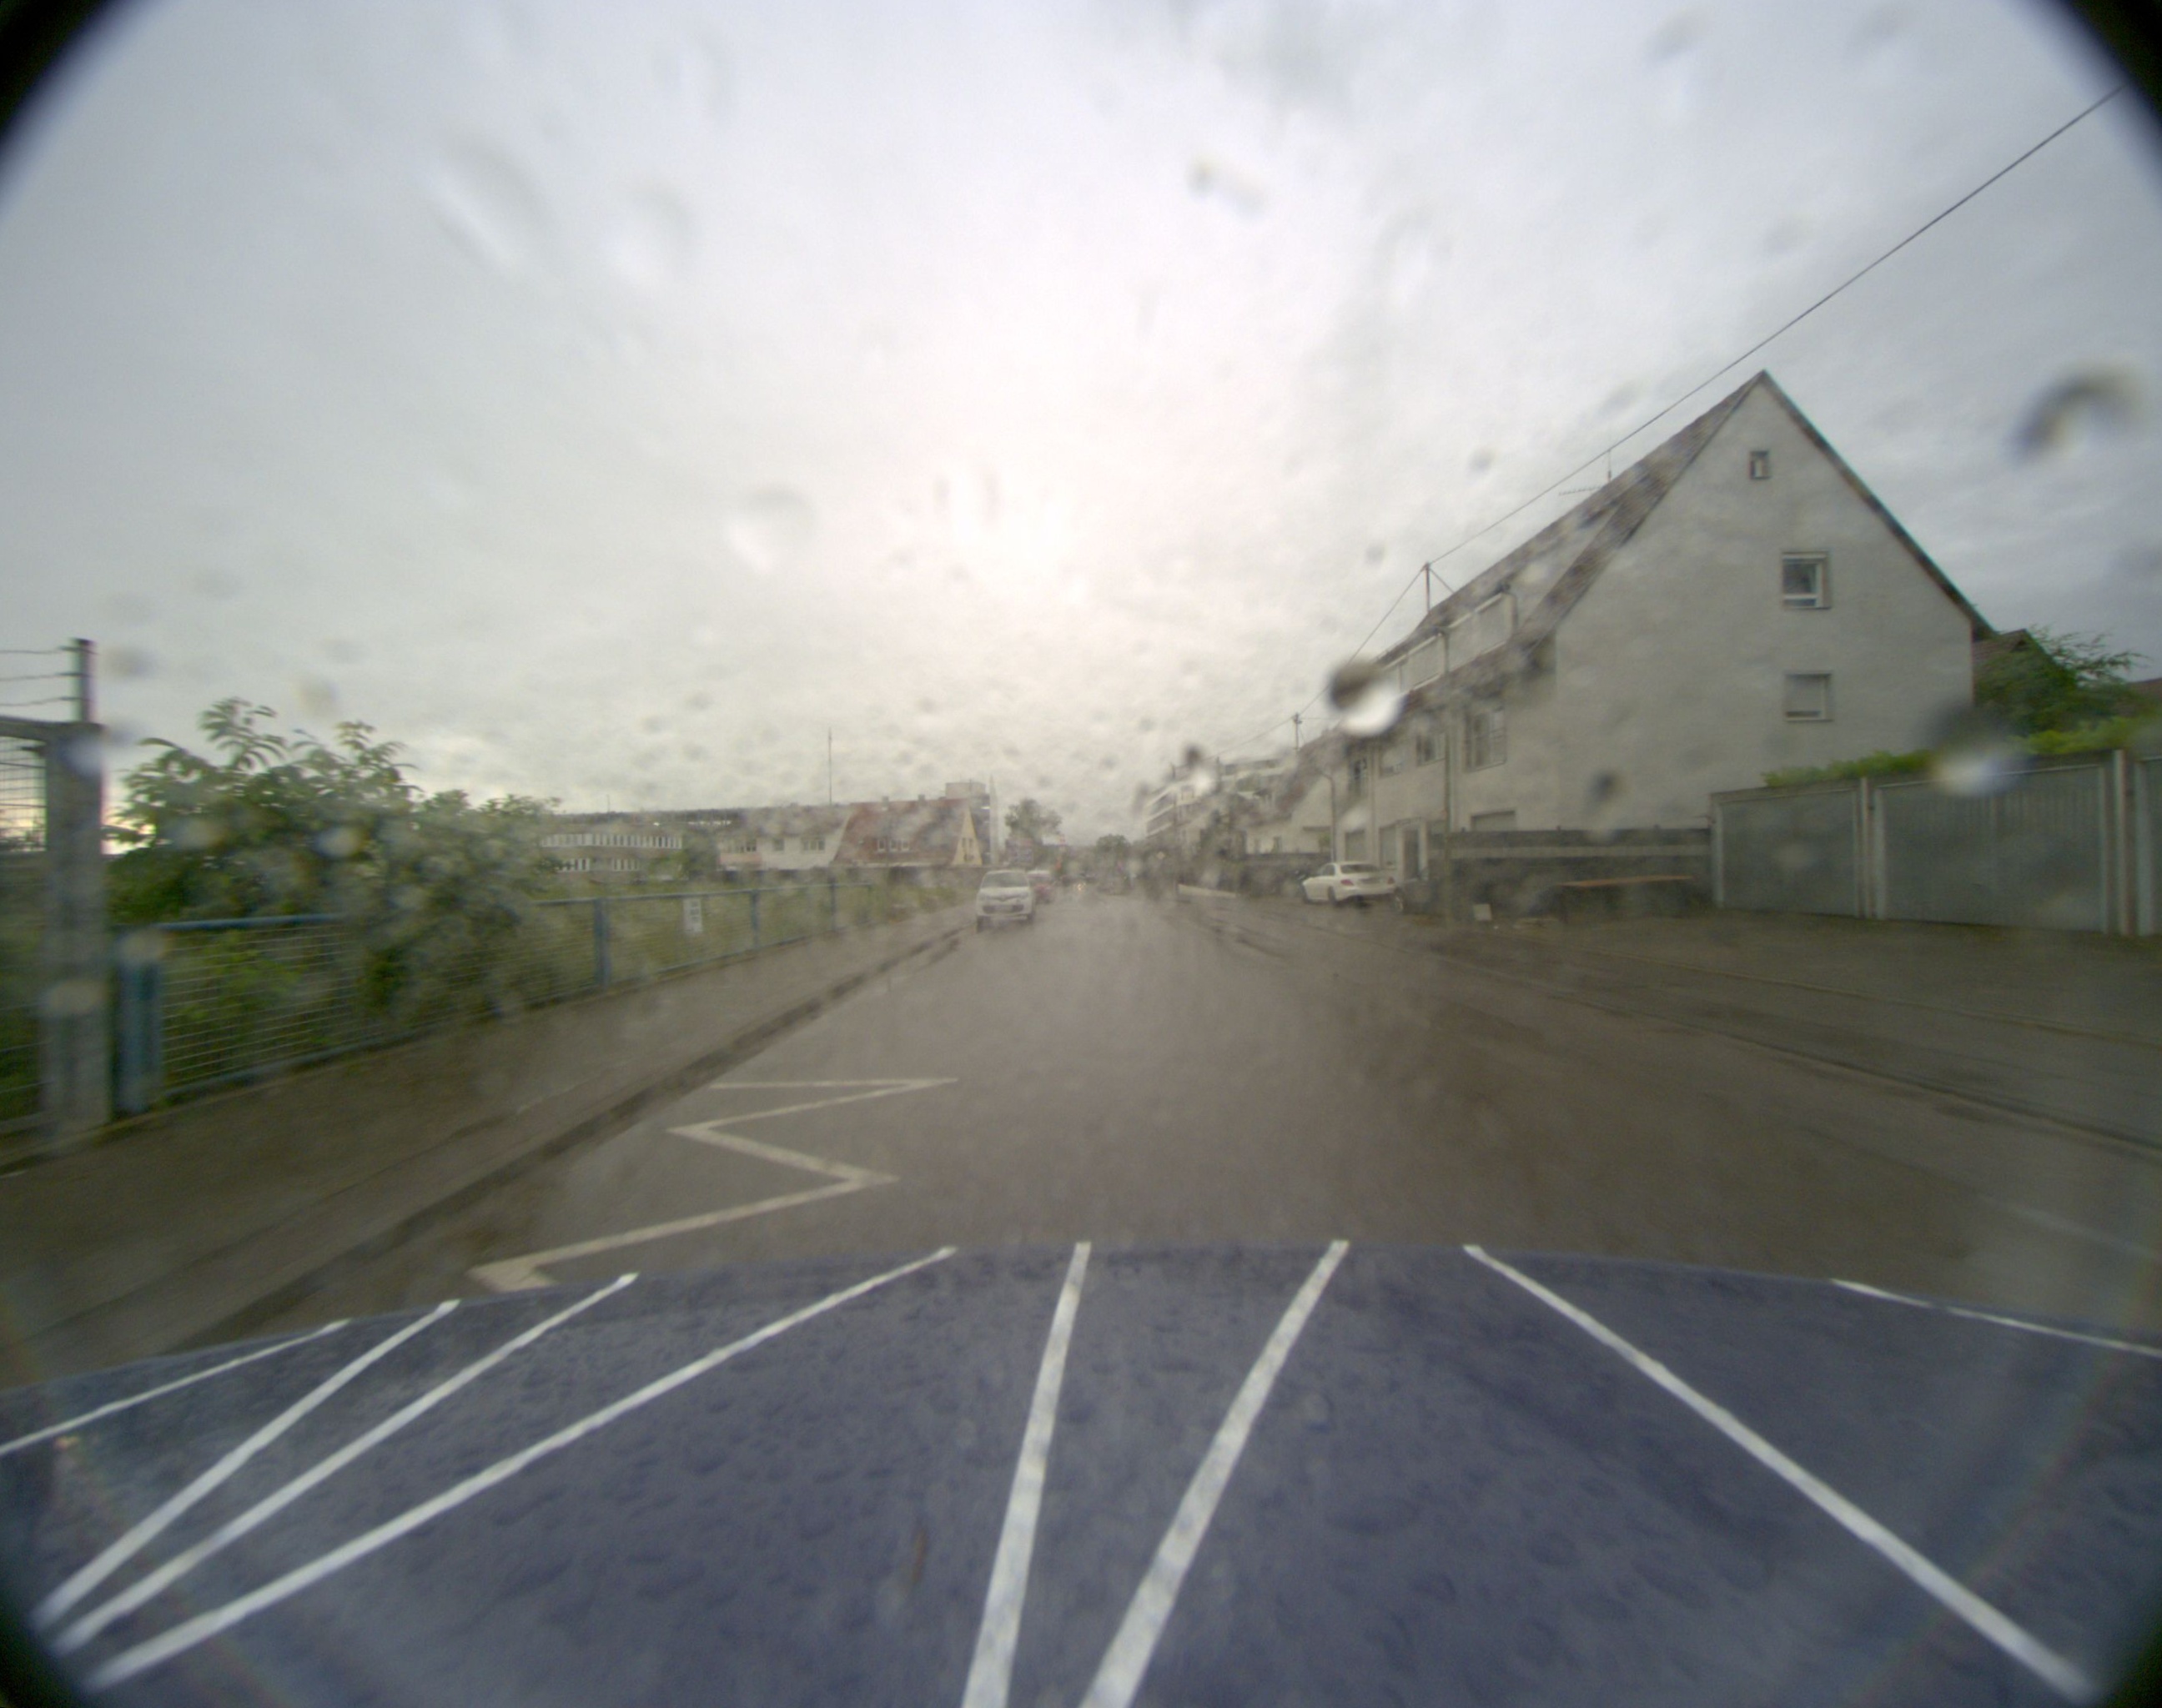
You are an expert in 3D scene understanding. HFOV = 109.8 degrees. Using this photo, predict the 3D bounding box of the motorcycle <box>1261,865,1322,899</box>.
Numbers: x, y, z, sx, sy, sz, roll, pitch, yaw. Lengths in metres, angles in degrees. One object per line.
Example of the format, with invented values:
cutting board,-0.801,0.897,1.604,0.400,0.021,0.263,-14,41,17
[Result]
motorcycle,9.053,1.203,32.733,2.368,1.266,0.736,-4,-1,0

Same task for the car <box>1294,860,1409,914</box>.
car,8.939,1.062,25.644,1.999,1.501,4.896,-4,-1,-1

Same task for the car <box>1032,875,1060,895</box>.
car,-2.456,2.185,54.307,1.773,1.327,4.321,-2,-2,-1

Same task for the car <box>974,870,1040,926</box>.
car,-2.221,1.298,23.522,1.686,1.548,3.675,-2,-1,-1

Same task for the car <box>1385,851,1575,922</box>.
car,9.233,0.735,18.103,1.832,1.360,4.569,-4,-1,-3

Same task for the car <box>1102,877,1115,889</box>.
car,4.298,4.560,119.474,1.841,1.695,4.325,-1,-2,1

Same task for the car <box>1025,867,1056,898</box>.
car,-2.566,1.815,49.056,1.773,1.814,4.575,-2,-2,-1

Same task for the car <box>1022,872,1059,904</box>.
car,-2.121,1.781,40.962,1.646,1.565,4.645,-2,-2,1
